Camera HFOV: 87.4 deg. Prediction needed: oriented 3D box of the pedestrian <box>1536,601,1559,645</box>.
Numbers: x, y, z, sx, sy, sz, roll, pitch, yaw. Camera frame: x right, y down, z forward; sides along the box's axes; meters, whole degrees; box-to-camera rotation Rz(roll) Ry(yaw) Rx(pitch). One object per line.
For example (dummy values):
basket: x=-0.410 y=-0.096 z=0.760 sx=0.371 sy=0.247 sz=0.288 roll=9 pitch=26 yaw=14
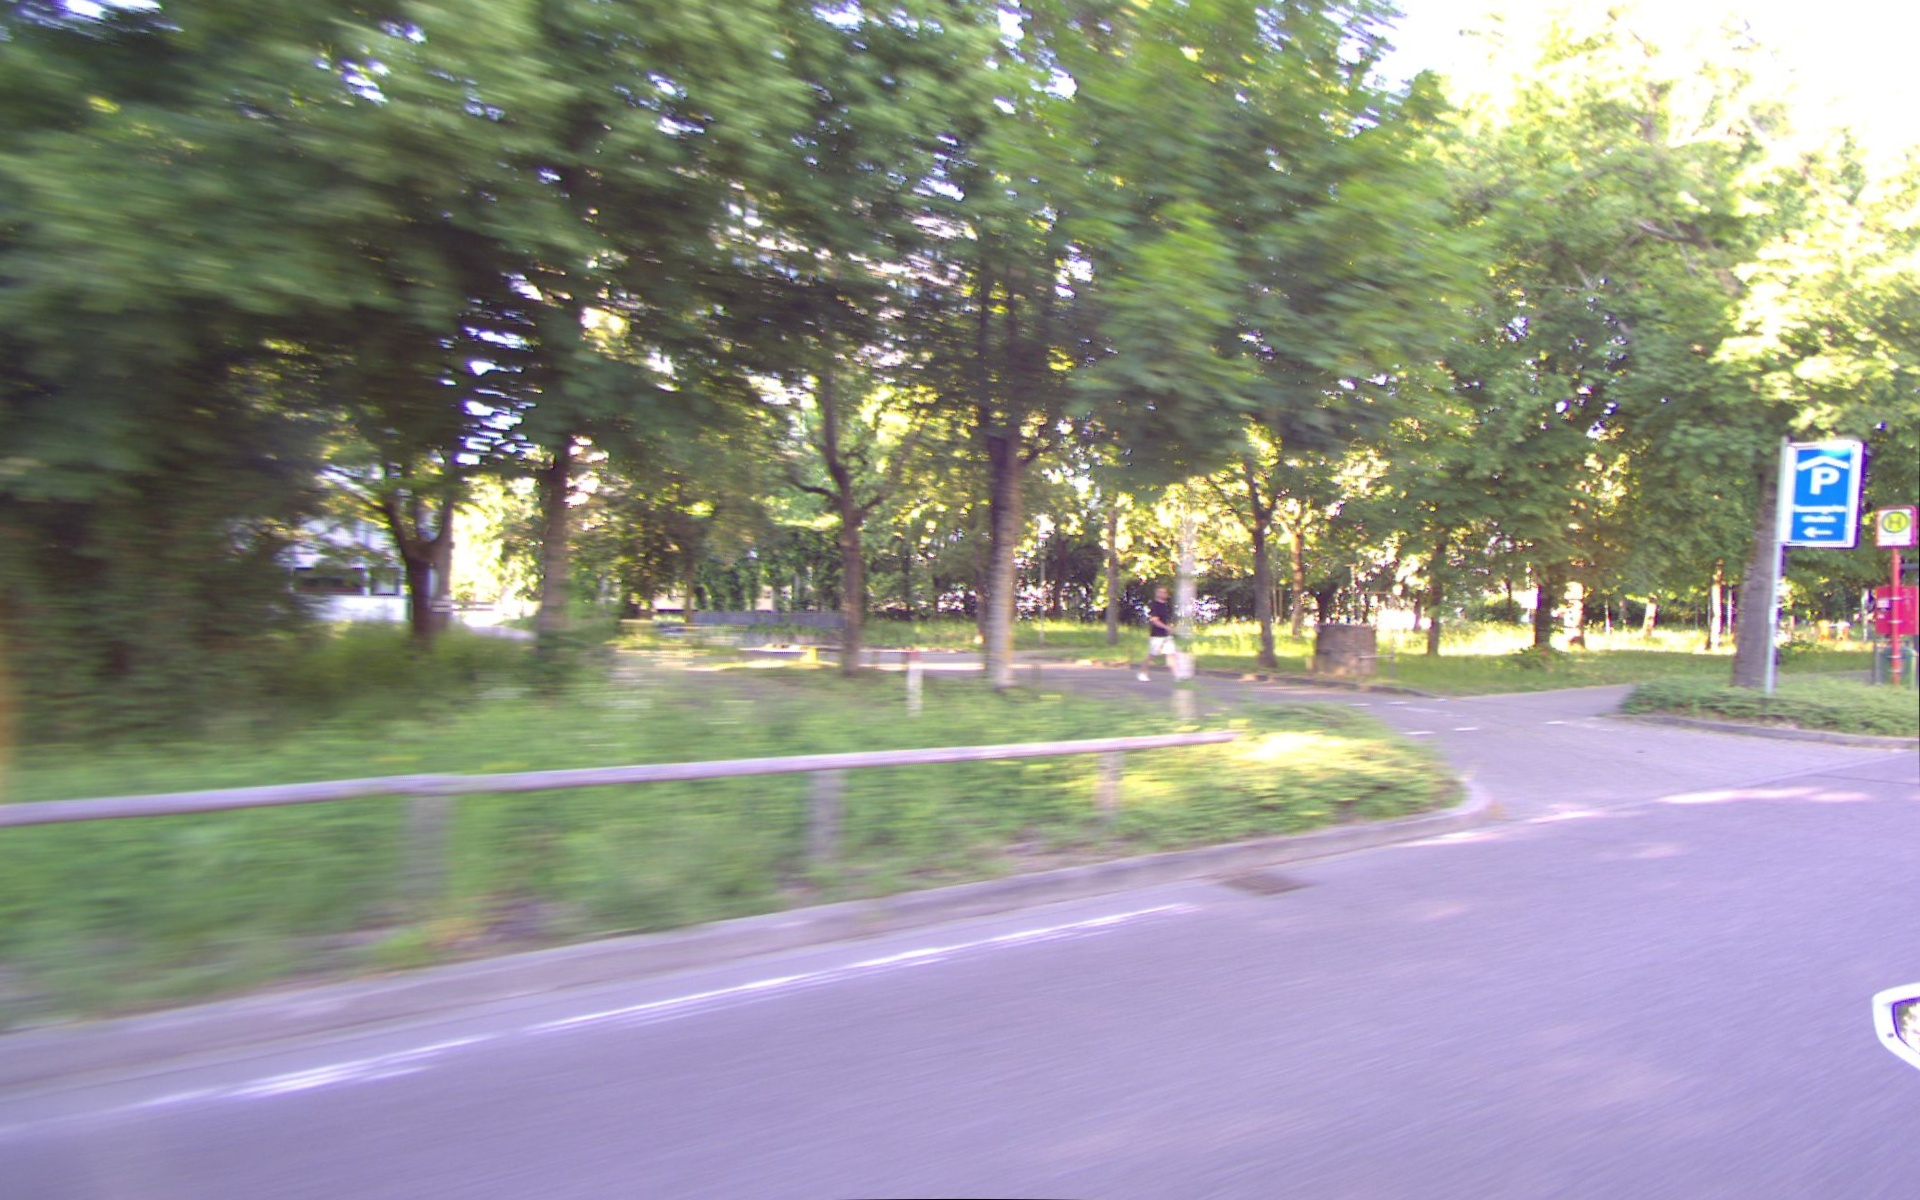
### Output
pedestrian: x=27.877 y=1.078 z=47.674 sx=0.584 sy=2.040 sz=0.751 roll=1 pitch=0 yaw=-35

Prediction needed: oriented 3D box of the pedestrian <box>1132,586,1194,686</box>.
pedestrian: x=3.835 y=0.666 z=19.018 sx=0.713 sy=1.845 sz=0.897 roll=1 pitch=0 yaw=-33
